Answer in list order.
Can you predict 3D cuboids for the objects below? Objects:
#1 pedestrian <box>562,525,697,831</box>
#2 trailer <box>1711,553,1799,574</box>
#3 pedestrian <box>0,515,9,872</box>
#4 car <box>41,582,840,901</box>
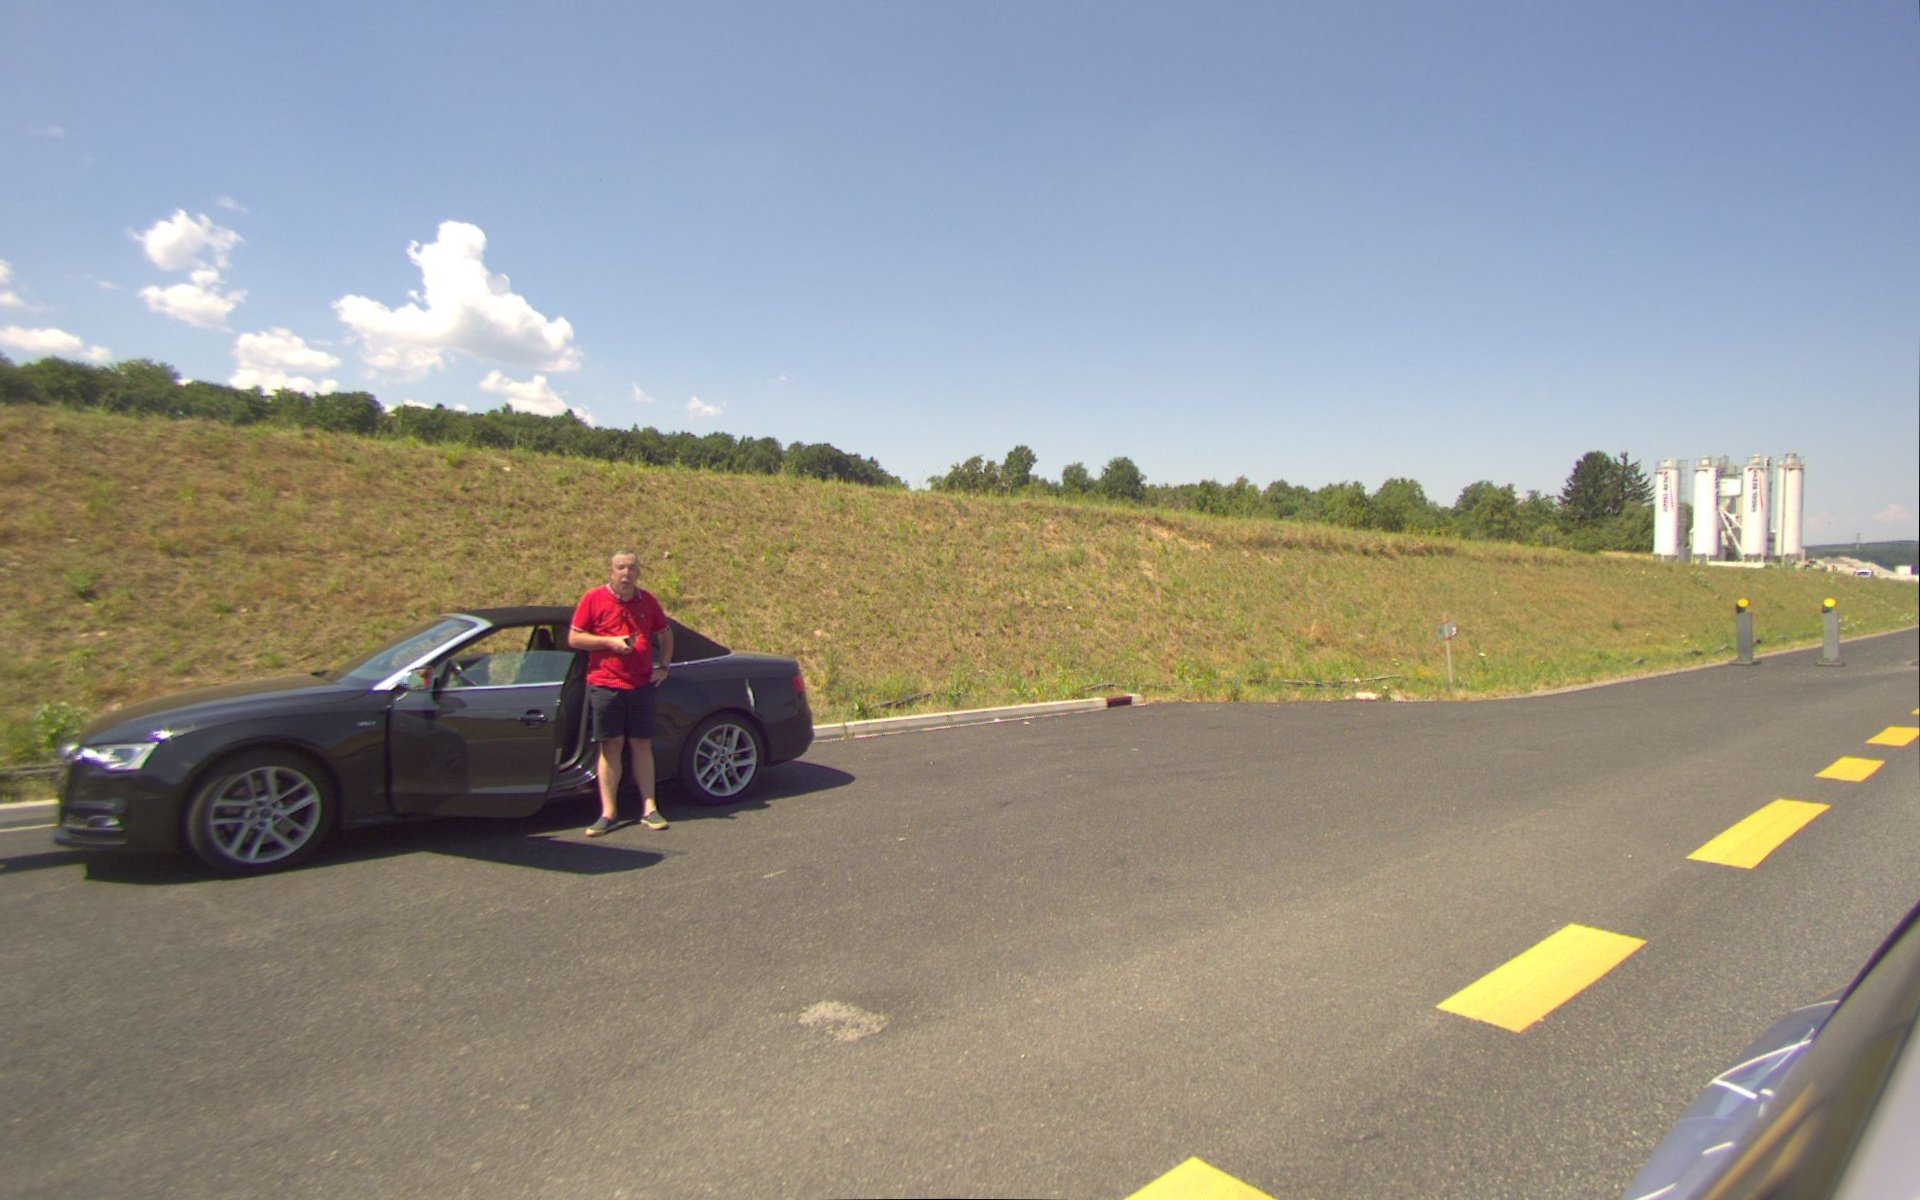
[{"bbox_3d":[-2.124,0.469,6.525,0.636,1.851,0.553,-1,-1,29],"label":"pedestrian"},{"bbox_3d":[105.001,-4.827,133.831,2.424,2.639,8.902,-1,2,-44],"label":"trailer"},{"bbox_3d":[-5.411,0.487,5.225,0.623,1.851,0.634,-1,-1,38],"label":"pedestrian"},{"bbox_3d":[-3.146,0.654,6.840,4.465,1.444,1.658,0,3,-41],"label":"car"}]
